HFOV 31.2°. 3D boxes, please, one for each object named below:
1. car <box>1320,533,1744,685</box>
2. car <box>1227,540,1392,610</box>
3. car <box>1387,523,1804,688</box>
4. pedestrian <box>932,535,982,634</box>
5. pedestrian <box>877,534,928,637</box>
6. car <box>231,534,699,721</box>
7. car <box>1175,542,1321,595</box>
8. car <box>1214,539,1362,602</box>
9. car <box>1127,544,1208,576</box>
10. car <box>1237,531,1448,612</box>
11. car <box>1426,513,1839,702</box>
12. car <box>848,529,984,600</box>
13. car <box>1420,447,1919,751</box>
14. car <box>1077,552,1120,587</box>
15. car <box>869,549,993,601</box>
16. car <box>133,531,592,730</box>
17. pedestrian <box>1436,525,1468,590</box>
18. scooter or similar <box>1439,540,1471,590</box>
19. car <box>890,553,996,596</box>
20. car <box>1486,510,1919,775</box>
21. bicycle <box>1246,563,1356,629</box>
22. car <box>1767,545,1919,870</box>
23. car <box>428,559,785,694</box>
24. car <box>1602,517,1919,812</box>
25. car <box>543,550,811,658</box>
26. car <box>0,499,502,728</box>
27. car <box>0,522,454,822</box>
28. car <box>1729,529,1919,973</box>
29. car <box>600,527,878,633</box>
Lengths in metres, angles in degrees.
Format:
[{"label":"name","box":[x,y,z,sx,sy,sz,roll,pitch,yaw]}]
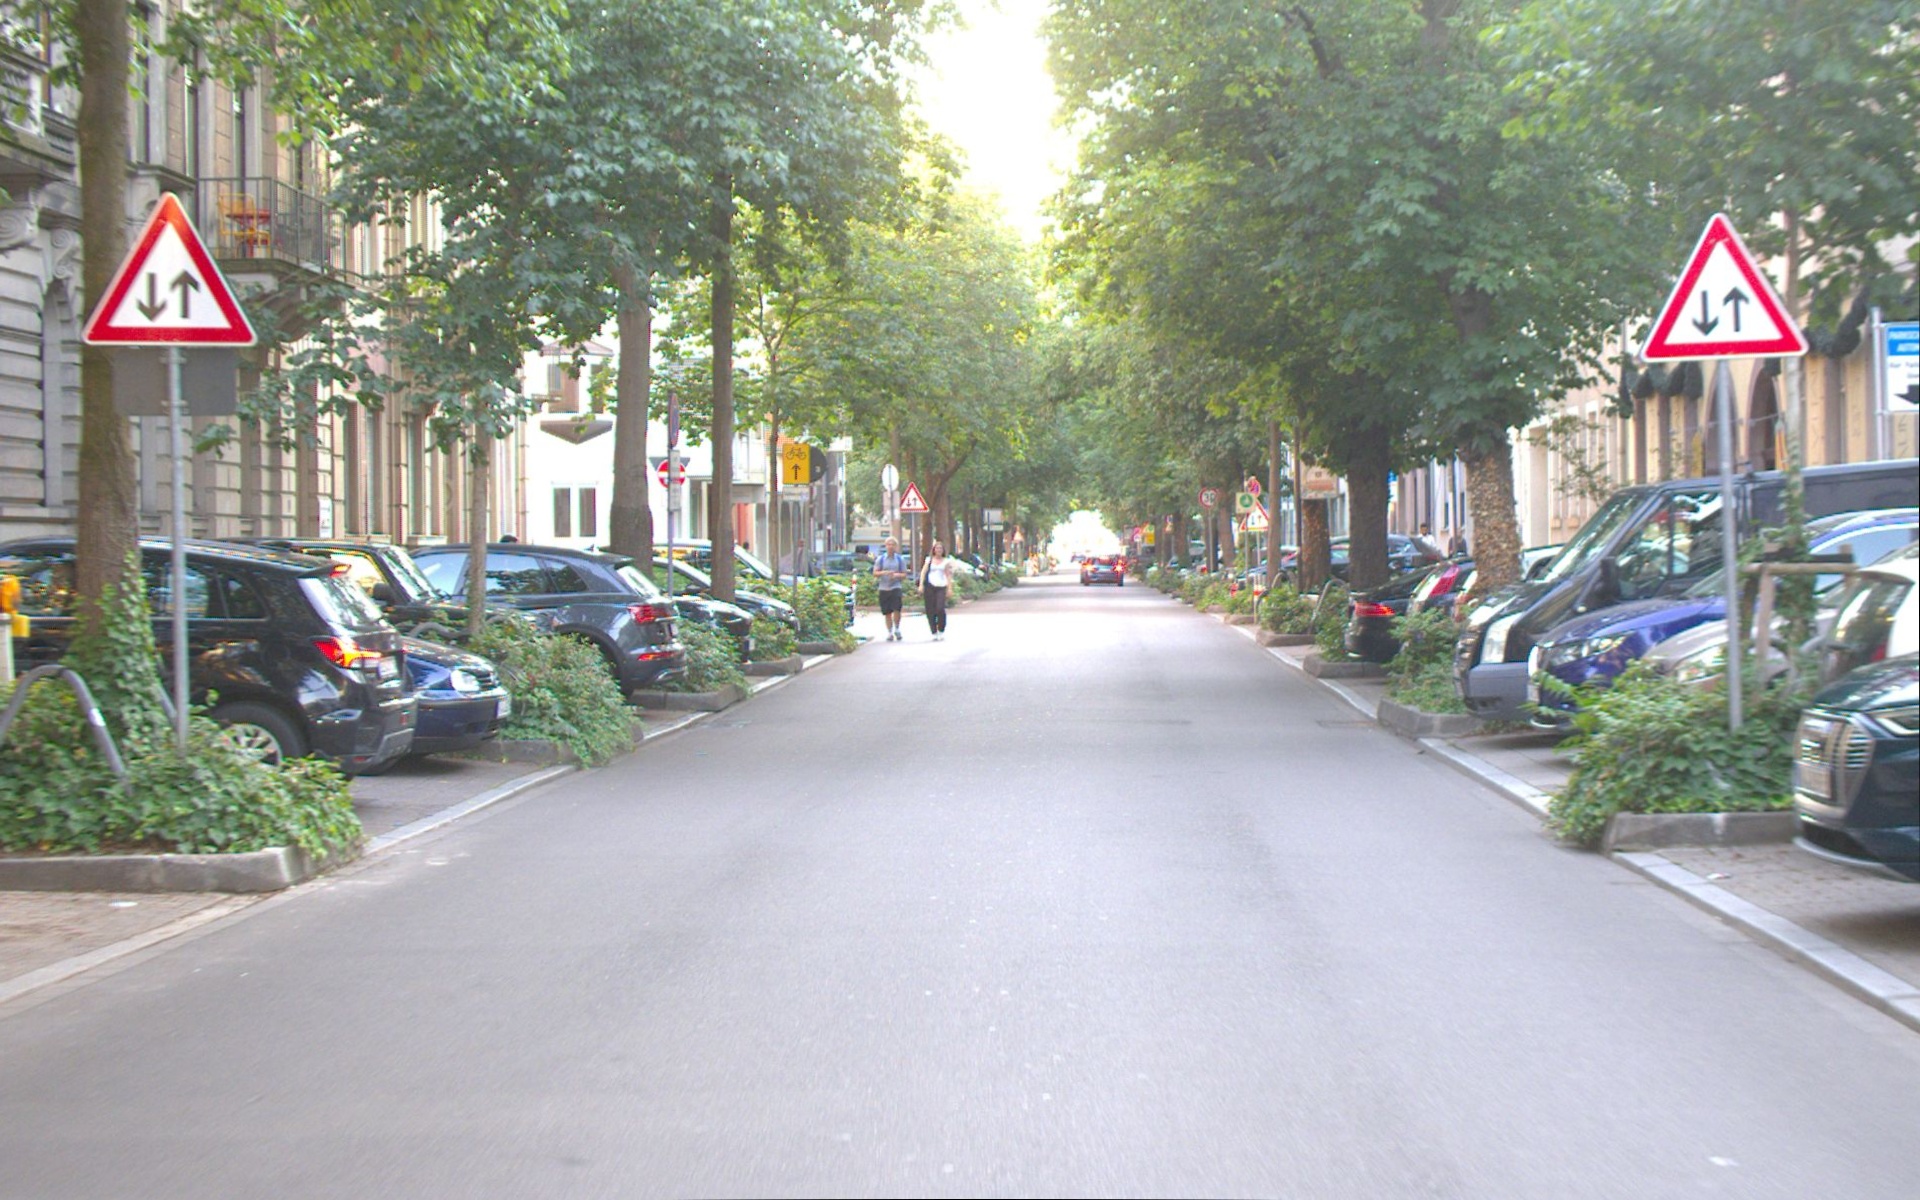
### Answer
[{"label":"car","box":[6.417,0.089,38.922,4.400,1.389,1.886,-4,1,0]},{"label":"car","box":[7.847,-0.580,77.406,3.483,1.447,1.899,-2,1,0]},{"label":"car","box":[6.669,0.047,36.390,3.987,1.433,1.926,-4,1,1]},{"label":"pedestrian","box":[-0.041,-0.264,58.770,0.794,1.665,0.831,-1,1,2]},{"label":"pedestrian","box":[-0.979,-0.256,58.899,0.794,1.731,0.831,-1,1,2]},{"label":"car","box":[-4.752,0.241,33.415,4.201,1.666,1.907,1,1,3]},{"label":"car","box":[9.434,-1.039,112.795,4.718,1.704,1.949,0,1,4]},{"label":"car","box":[8.184,-0.749,86.018,3.483,1.447,1.899,-2,1,0]},{"label":"car","box":[11.101,-2.125,184.179,4.268,1.560,1.963,-2,0,2]},{"label":"car","box":[8.225,-0.623,74.274,4.426,1.650,1.899,-1,1,4]},{"label":"car","box":[6.553,0.063,33.786,3.680,1.573,1.714,-4,1,3]},{"label":"car","box":[-1.540,-1.255,121.763,4.682,2.469,2.000,0,0,2]},{"label":"car","box":[6.040,-0.061,26.328,4.689,2.004,2.037,-4,1,2]},{"label":"car","box":[6.487,-1.416,160.831,1.956,1.560,4.282,-2,0,2]},{"label":"car","box":[-1.101,-0.973,134.194,4.682,1.848,1.963,-2,0,2]},{"label":"car","box":[-5.337,0.246,31.010,3.801,1.666,1.714,1,1,1]},{"label":"pedestrian","box":[11.685,-1.008,81.676,0.655,1.531,0.831,-1,1,3]},{"label":"scooter or similar","box":[11.659,-0.821,81.028,0.655,1.149,0.831,-1,1,3]},{"label":"car","box":[-0.686,-1.051,141.907,4.203,1.630,1.963,-2,0,2]},{"label":"car","box":[5.895,0.222,23.708,4.155,1.573,1.970,-4,1,1]},{"label":"bicycle","box":[6.224,-0.073,62.735,1.837,1.132,0.745,-2,1,-8]},{"label":"car","box":[5.937,0.365,16.226,3.793,1.418,1.697,-4,1,1]},{"label":"car","box":[-4.107,0.293,40.367,3.945,1.527,1.907,0,0,2]},{"label":"car","box":[6.015,0.278,20.492,3.965,1.573,1.851,-4,1,1]},{"label":"car","box":[-4.100,0.043,50.210,3.692,1.453,1.872,1,1,2]},{"label":"car","box":[-5.393,0.056,24.303,3.965,1.382,1.765,3,2,3]},{"label":"car","box":[-5.262,0.366,20.938,3.965,1.591,1.780,3,1,3]},{"label":"car","box":[5.537,0.396,13.355,4.590,1.573,1.944,-4,1,1]},{"label":"car","box":[-3.666,-0.348,57.594,4.426,1.645,1.872,1,1,3]}]
